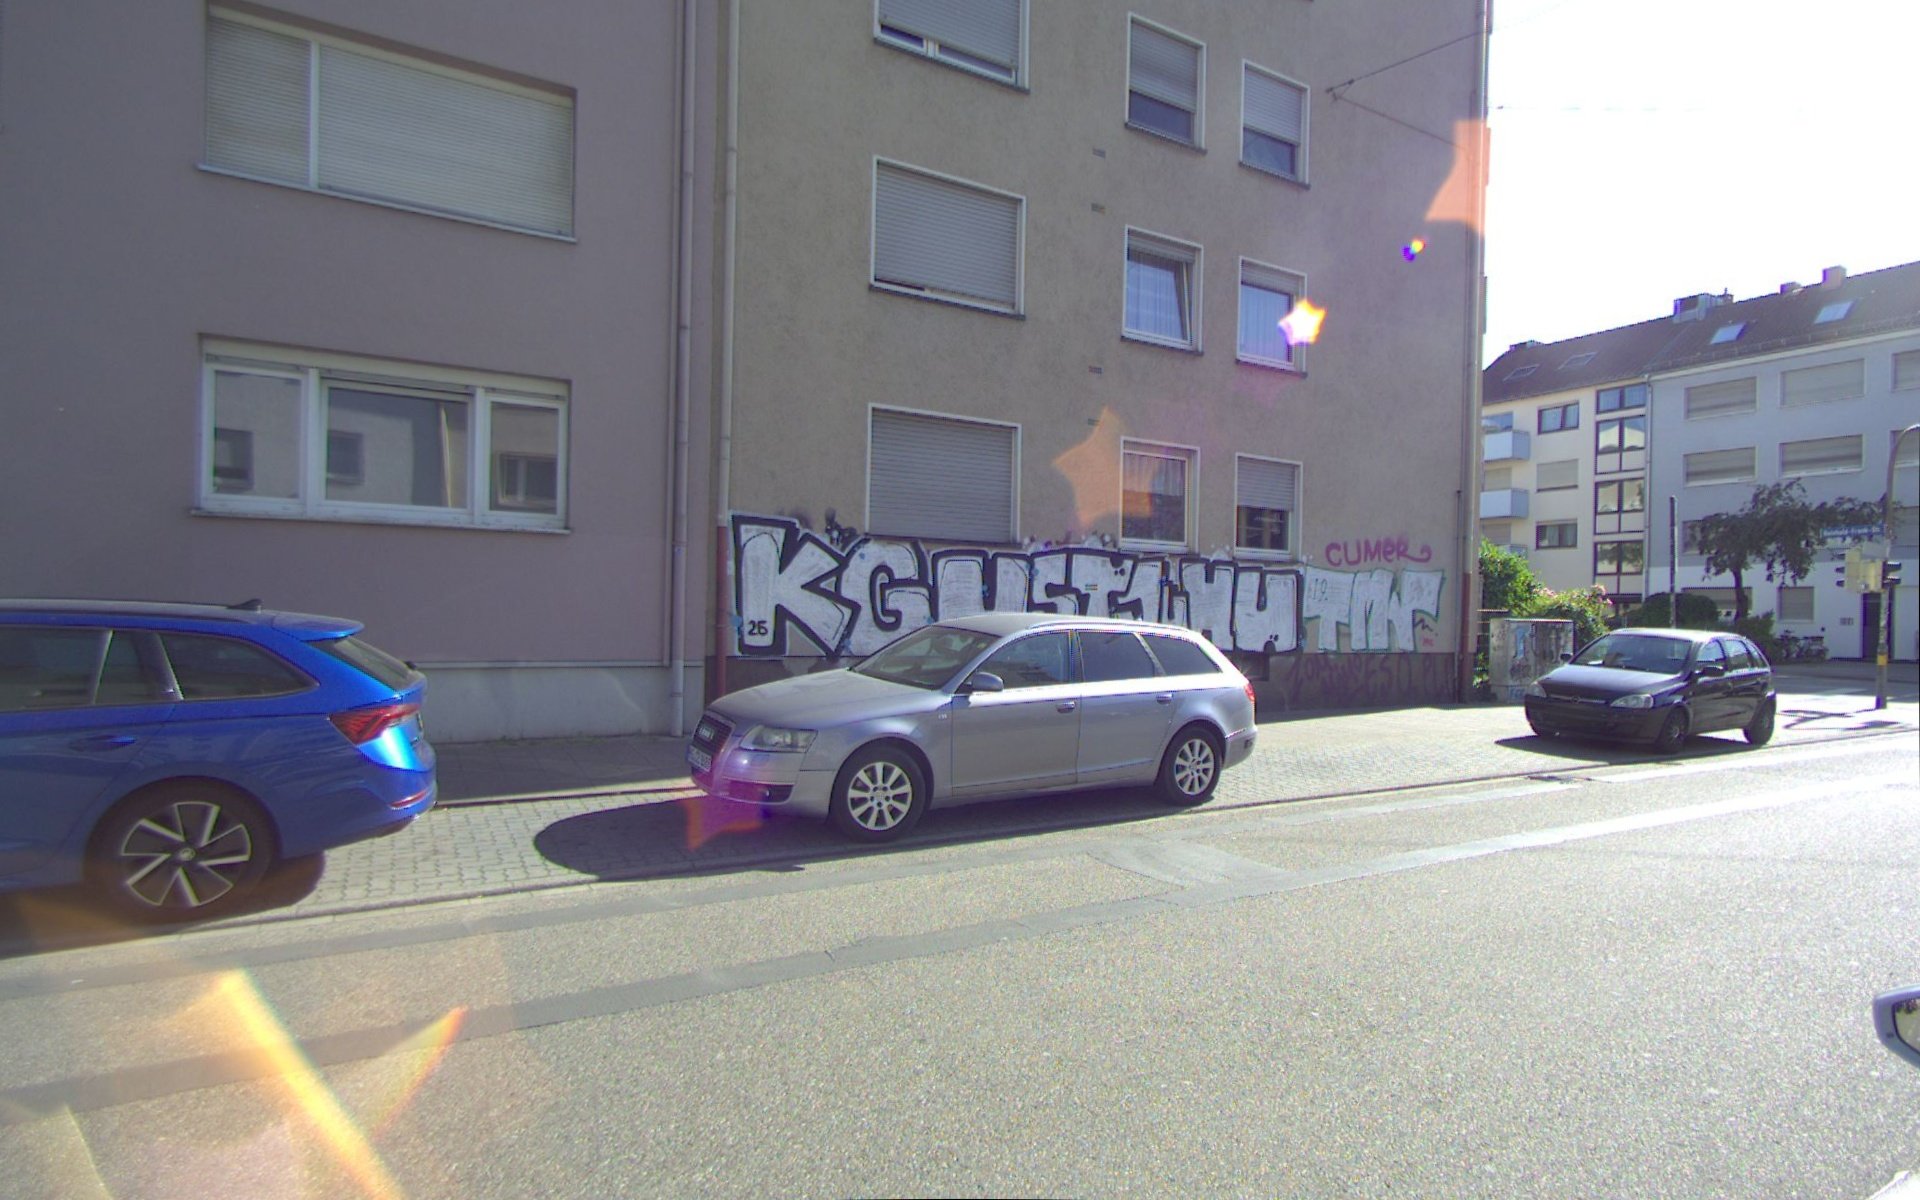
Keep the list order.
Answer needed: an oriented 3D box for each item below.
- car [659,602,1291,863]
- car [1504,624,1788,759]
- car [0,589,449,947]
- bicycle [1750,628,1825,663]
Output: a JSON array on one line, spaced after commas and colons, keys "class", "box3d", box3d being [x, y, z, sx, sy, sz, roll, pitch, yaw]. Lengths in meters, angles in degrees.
[{"class": "car", "box3d": [0.261, 0.833, 7.888, 4.759, 1.485, 1.708, 1, 1, -31]}, {"class": "car", "box3d": [8.916, 1.091, 13.007, 3.667, 1.444, 1.608, 1, 2, -31]}, {"class": "car", "box3d": [-5.042, 0.712, 4.783, 4.559, 1.485, 1.708, 1, 2, -31]}, {"class": "bicycle", "box3d": [30.064, 1.643, 36.548, 2.068, 1.188, 0.738, 0, -1, 37]}]
